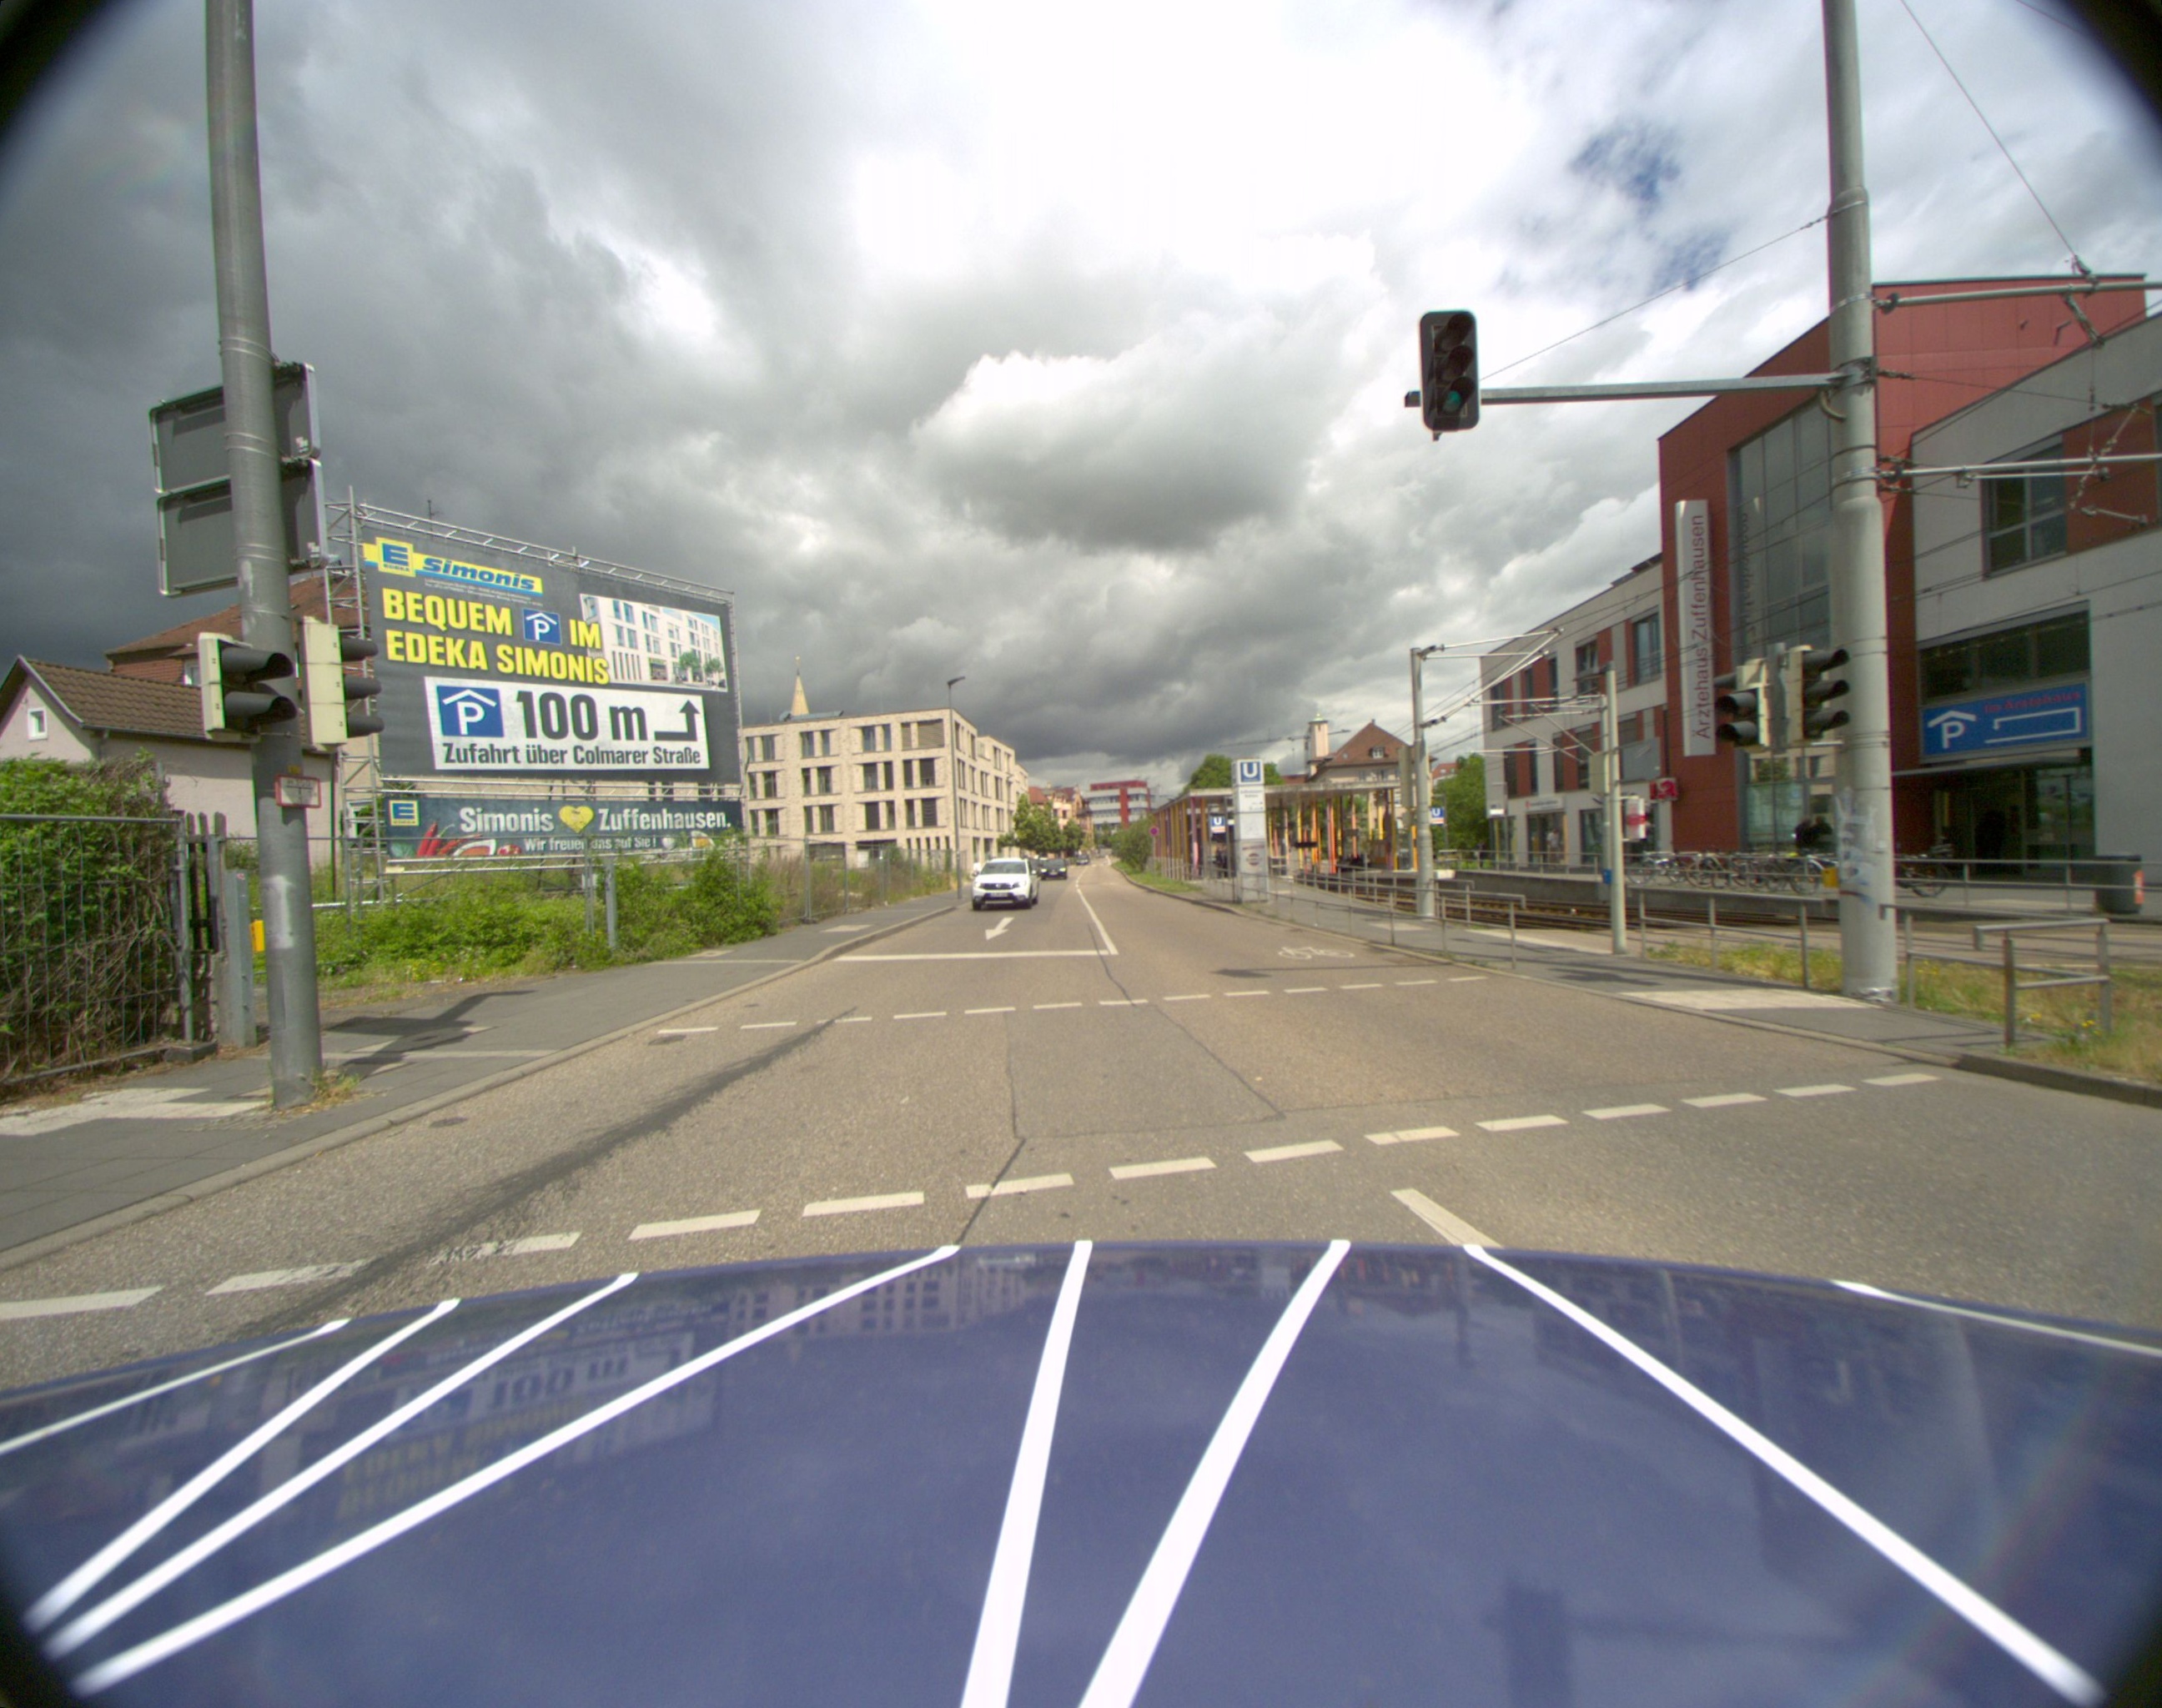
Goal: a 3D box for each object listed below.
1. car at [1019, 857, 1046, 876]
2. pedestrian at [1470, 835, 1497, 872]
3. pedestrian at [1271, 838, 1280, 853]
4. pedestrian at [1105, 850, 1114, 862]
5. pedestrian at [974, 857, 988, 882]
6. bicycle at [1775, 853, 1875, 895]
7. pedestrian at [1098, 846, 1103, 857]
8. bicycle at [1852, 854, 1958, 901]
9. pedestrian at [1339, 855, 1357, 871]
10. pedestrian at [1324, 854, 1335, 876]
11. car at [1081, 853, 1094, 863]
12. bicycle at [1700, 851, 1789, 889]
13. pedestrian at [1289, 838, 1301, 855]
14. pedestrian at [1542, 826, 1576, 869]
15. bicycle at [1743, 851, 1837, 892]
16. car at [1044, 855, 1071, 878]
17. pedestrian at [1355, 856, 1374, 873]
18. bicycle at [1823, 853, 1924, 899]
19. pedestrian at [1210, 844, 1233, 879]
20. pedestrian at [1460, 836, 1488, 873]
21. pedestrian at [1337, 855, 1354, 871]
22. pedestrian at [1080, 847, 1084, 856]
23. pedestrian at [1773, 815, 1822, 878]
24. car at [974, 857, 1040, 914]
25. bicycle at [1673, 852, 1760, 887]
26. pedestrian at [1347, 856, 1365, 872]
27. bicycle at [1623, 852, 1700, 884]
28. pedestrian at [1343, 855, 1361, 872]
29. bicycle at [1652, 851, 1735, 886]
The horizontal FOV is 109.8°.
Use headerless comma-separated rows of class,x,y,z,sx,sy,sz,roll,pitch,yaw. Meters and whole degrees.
car,-3.800,0.984,59.959,1.677,1.367,3.795,-2,0,3
pedestrian,21.534,-0.041,40.660,0.864,1.957,1.105,-1,2,-1
pedestrian,26.871,-1.188,104.885,1.127,2.002,1.459,-2,0,13
pedestrian,3.982,0.271,104.875,1.118,1.744,0.866,-2,0,-2
pedestrian,-6.227,0.957,47.366,0.673,1.503,0.782,-2,0,1
bicycle,17.645,0.471,18.039,1.862,0.930,0.454,-2,1,3
pedestrian,3.750,-0.448,147.215,0.800,2.002,0.810,-1,0,9
bicycle,17.724,0.504,16.367,1.739,0.947,0.428,-2,1,3
pedestrian,19.184,0.650,54.588,0.943,1.128,0.886,-2,0,2
pedestrian,23.076,1.018,70.516,0.617,2.002,0.775,-2,0,-6
car,0.889,0.519,106.887,1.677,1.299,3.794,-1,1,3
bicycle,17.549,0.430,20.123,1.861,0.934,0.454,-2,1,5
pedestrian,26.270,-0.913,93.325,1.127,2.002,1.179,-2,0,6
pedestrian,22.027,-0.303,35.026,0.864,1.957,1.106,-1,2,3
bicycle,17.682,0.439,18.971,1.862,0.957,0.454,-2,1,3
car,-1.593,0.838,51.774,1.678,1.425,3.794,-2,1,0
pedestrian,19.267,0.702,51.685,0.943,1.128,0.886,-2,0,2
bicycle,17.712,0.490,17.000,1.739,0.952,0.428,-2,1,3
pedestrian,7.703,0.396,41.645,1.105,1.903,0.864,-1,2,2
pedestrian,20.987,0.010,40.597,0.864,1.957,1.105,-1,2,-1
pedestrian,19.260,0.632,55.312,0.943,1.128,0.886,-2,0,2
pedestrian,0.141,-0.463,139.899,0.673,1.503,0.783,-2,0,3
pedestrian,22.011,-0.238,23.340,0.881,1.835,0.862,-4,3,-27
car,-2.209,0.905,23.505,1.719,1.541,3.792,-1,0,-1
bicycle,17.566,0.424,21.023,1.861,0.917,0.455,-2,1,8
pedestrian,19.072,0.687,52.640,0.943,1.128,0.886,-2,0,2
bicycle,17.533,0.423,22.980,1.861,0.876,0.455,-2,1,9
pedestrian,19.087,0.669,53.598,0.943,1.128,0.886,-2,0,2
bicycle,17.592,0.409,21.852,1.861,0.927,0.455,-2,1,9
